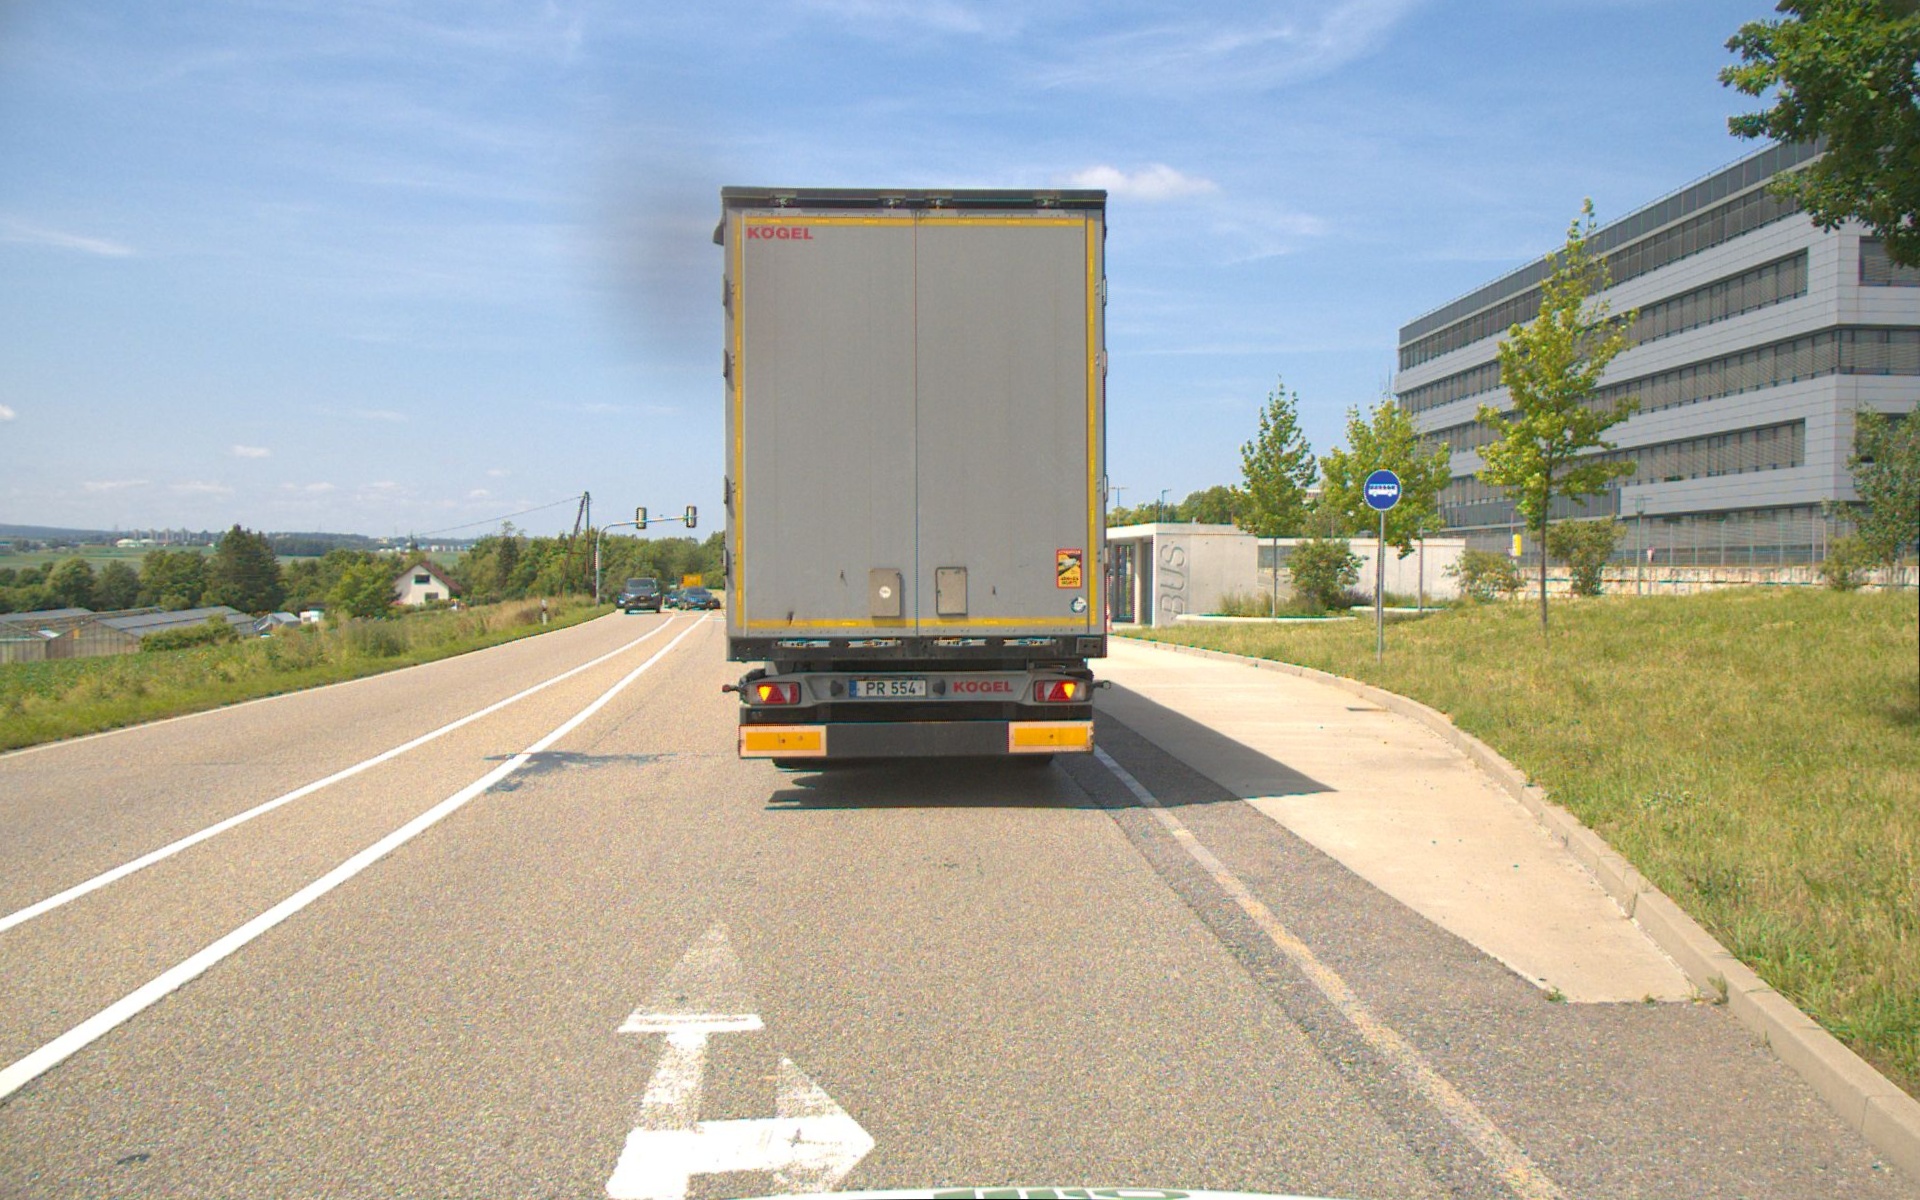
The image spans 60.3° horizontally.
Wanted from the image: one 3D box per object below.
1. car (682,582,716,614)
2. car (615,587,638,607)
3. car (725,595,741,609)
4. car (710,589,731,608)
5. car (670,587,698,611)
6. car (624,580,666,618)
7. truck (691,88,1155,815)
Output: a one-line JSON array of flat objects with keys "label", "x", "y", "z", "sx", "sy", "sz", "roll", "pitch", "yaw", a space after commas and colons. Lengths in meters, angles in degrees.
[{"label": "car", "x": -16.832, "y": -0.153, "z": 106.772, "sx": 1.956, "sy": 1.984, "sz": 4.496, "roll": -2, "pitch": 1, "yaw": -7}, {"label": "car", "x": -32.112, "y": -0.310, "z": 159.324, "sx": 1.957, "sy": 1.819, "sz": 3.991, "roll": -2, "pitch": 0, "yaw": -9}, {"label": "car", "x": -29.458, "y": 0.238, "z": 214.463, "sx": 1.855, "sy": 1.808, "sz": 4.381, "roll": -2, "pitch": 1, "yaw": -6}, {"label": "car", "x": -27.211, "y": -0.172, "z": 187.868, "sx": 2.129, "sy": 2.048, "sz": 4.521, "roll": -2, "pitch": 1, "yaw": -6}, {"label": "car", "x": -22.184, "y": -0.096, "z": 133.163, "sx": 1.956, "sy": 1.847, "sz": 4.290, "roll": -2, "pitch": 1, "yaw": -7}, {"label": "car", "x": -17.747, "y": -0.081, "z": 93.337, "sx": 1.956, "sy": 2.013, "sz": 5.270, "roll": -2, "pitch": 1, "yaw": -8}, {"label": "truck", "x": -0.485, "y": -0.953, "z": 14.747, "sx": 2.849, "sy": 4.487, "sz": 8.854, "roll": 1, "pitch": 1, "yaw": -4}]
